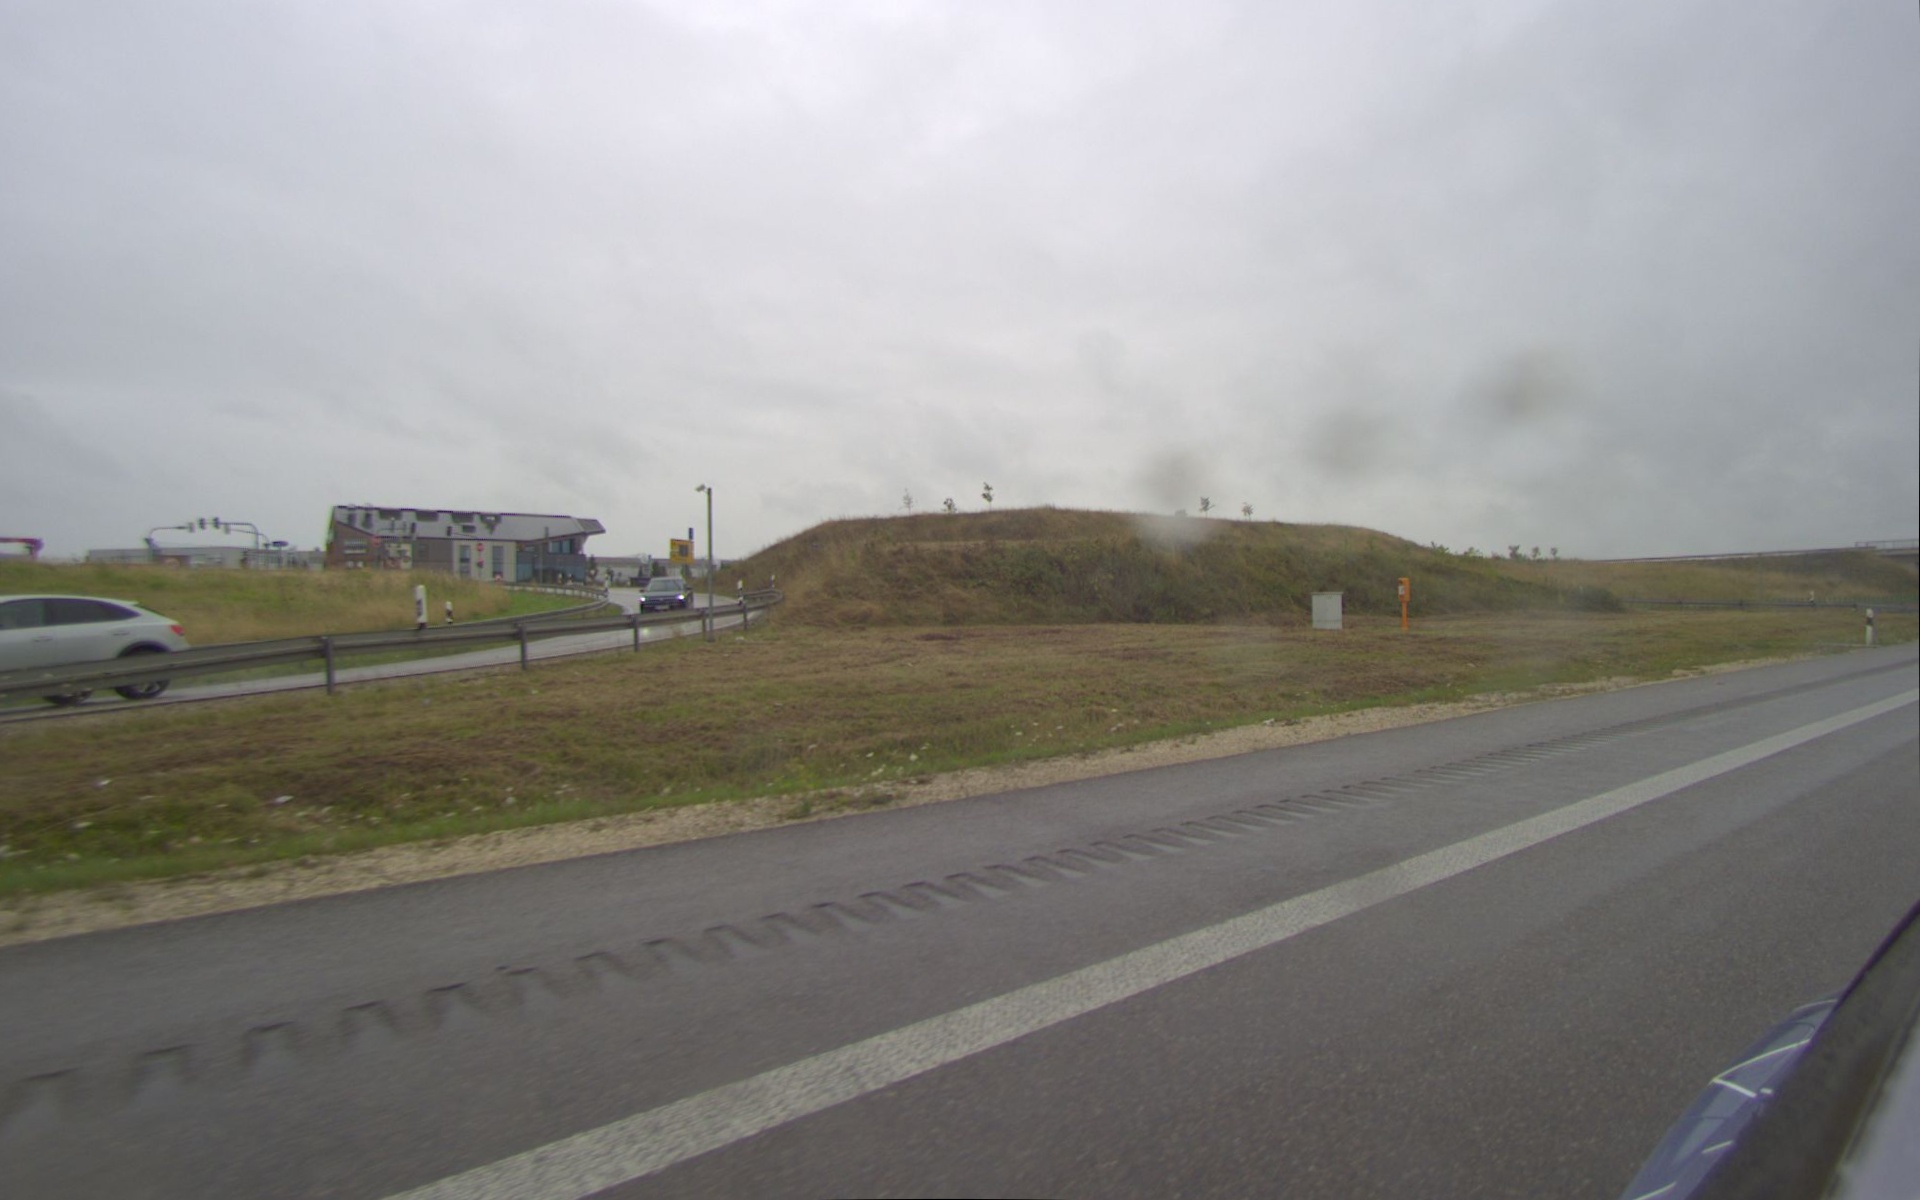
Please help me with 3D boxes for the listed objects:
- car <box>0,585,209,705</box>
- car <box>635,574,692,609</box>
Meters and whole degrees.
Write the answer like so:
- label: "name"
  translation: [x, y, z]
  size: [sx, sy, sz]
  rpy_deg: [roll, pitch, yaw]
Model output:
- label: "car"
  translation: [-12.945, 0.596, 13.526]
  size: [1.887, 1.504, 4.457]
  rpy_deg: [-2, 1, 15]
- label: "car"
  translation: [-11.901, -0.352, 40.768]
  size: [1.783, 1.304, 4.007]
  rpy_deg: [-1, 1, -10]
